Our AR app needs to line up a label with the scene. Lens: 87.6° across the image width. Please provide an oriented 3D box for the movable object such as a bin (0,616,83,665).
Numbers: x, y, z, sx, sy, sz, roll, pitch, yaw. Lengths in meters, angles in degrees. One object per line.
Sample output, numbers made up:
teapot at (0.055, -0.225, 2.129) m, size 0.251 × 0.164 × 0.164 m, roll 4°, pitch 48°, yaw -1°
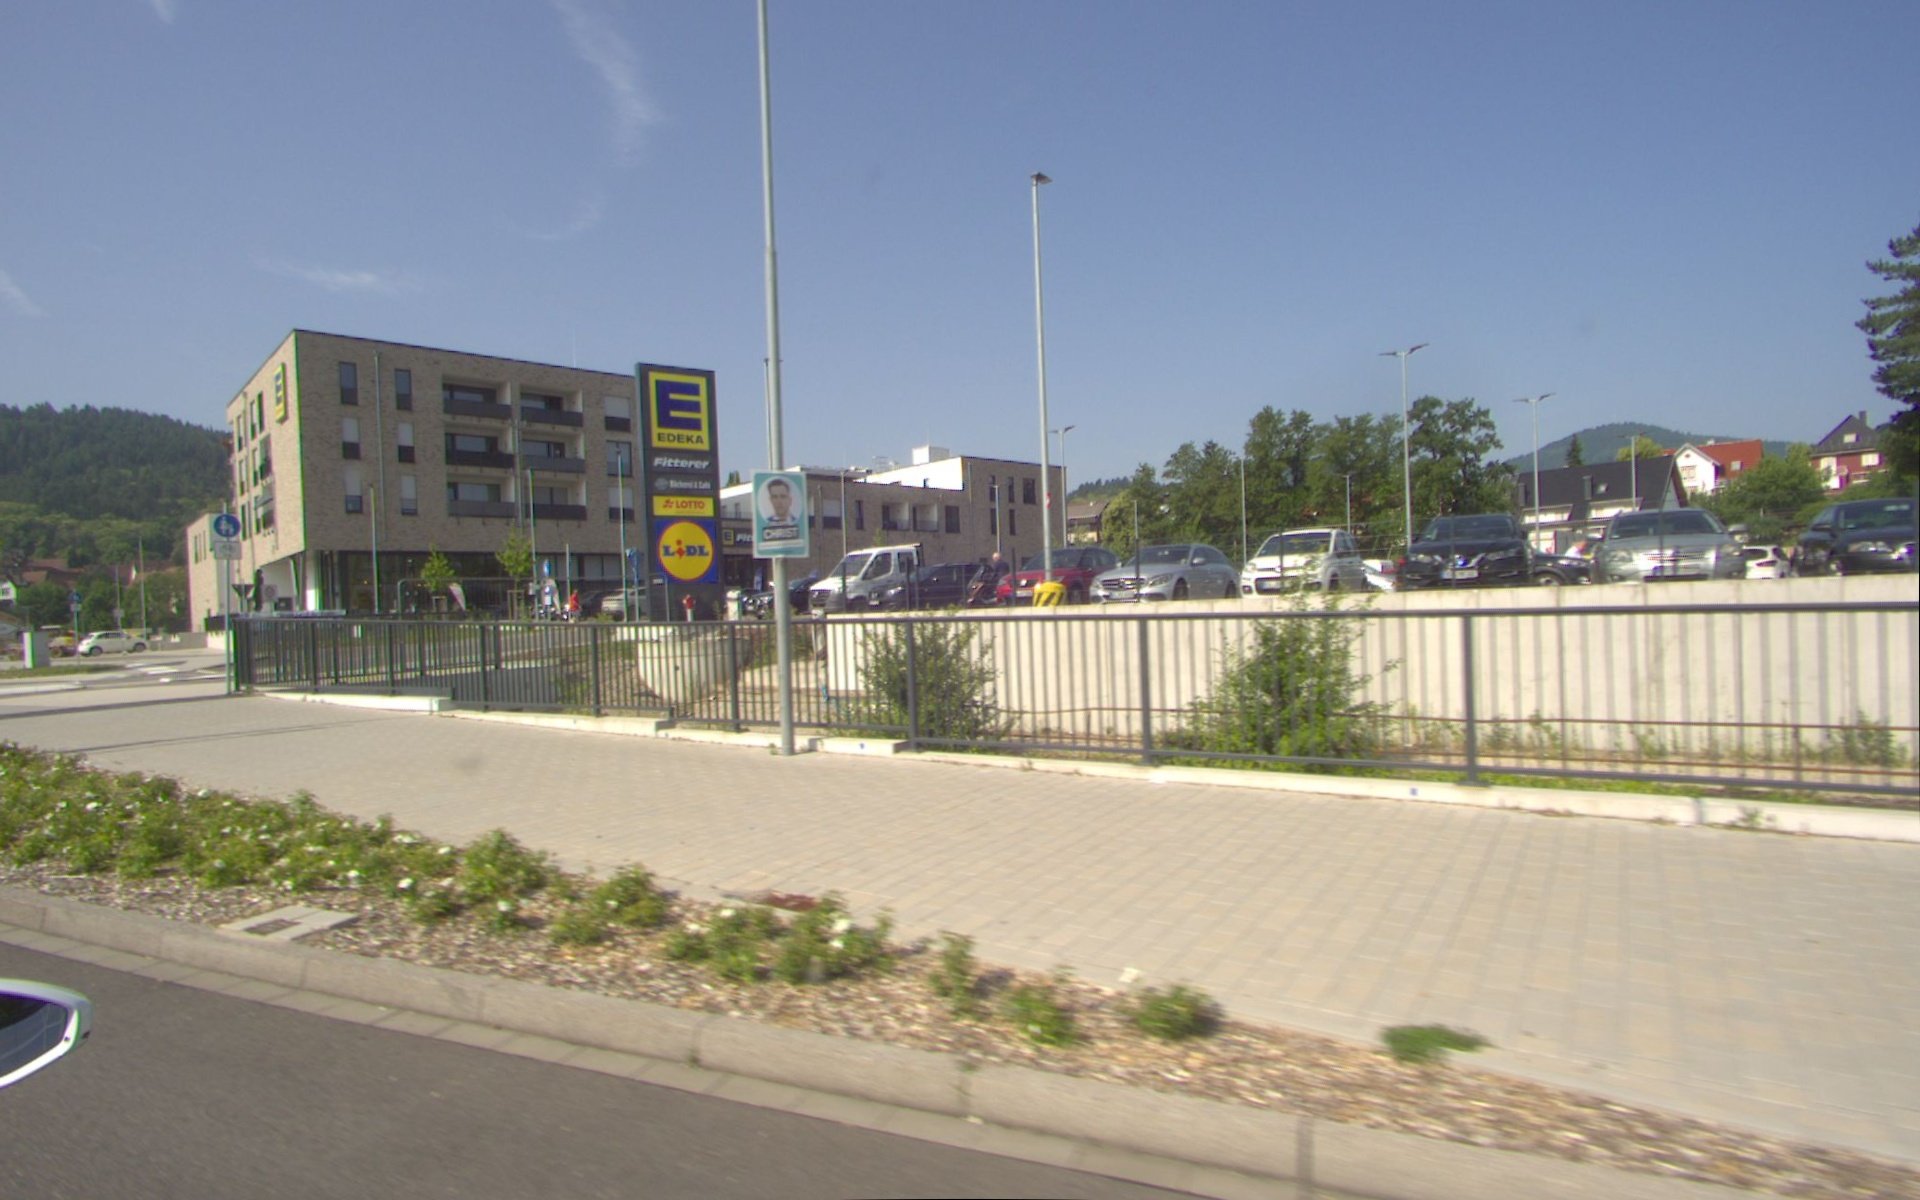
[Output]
movable object such as a bin at (-38.552, 1.664, 42.002) m, size 1.413 × 1.868 × 2.430 m, roll -2°, pitch 1°, yaw 41°

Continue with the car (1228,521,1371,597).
car at (6.385, -0.715, 18.606) m, size 1.690 × 1.215 × 3.546 m, roll -1°, pitch 1°, yaw 33°

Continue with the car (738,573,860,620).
car at (-5.774, -0.135, 36.043) m, size 3.947 × 1.467 × 1.667 m, roll -3°, pitch 1°, yaw -35°

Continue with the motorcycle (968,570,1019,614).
motorcycle at (0.874, -0.208, 25.824) m, size 1.264 × 1.060 × 0.559 m, roll -3°, pitch 1°, yaw 3°

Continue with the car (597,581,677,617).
car at (-16.160, -0.039, 50.128) m, size 3.463 × 1.615 × 1.472 m, roll -3°, pitch 1°, yaw -45°

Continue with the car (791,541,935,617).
car at (-2.993, -0.678, 31.269) m, size 3.949 × 2.164 × 1.986 m, roll -3°, pitch 1°, yaw -36°

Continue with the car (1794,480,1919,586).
car at (12.867, -0.864, 13.693) m, size 1.705 × 1.262 × 3.957 m, roll -1°, pitch 1°, yaw 32°

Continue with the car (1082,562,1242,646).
car at (4.196, 0.047, 20.304) m, size 1.694 × 1.507 × 4.043 m, roll -1°, pitch 1°, yaw 35°

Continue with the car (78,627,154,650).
car at (-54.947, 2.485, 65.231) m, size 1.449 × 1.321 × 3.464 m, roll -1°, pitch 1°, yaw 34°

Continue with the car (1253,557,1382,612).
car at (12.002, -0.505, 33.725) m, size 3.735 × 1.631 × 1.593 m, roll -3°, pitch 1°, yaw 43°

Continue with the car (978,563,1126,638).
car at (2.041, -0.010, 21.380) m, size 1.687 × 1.449 × 3.546 m, roll -1°, pitch 1°, yaw 33°

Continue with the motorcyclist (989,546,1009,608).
motorcyclist at (1.018, -0.589, 25.761) m, size 0.423 × 1.553 × 0.454 m, roll -3°, pitch 1°, yaw 5°

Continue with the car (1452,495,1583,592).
car at (9.305, -0.856, 16.559) m, size 1.637 × 1.360 × 4.026 m, roll -1°, pitch 1°, yaw 33°

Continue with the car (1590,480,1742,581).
car at (10.611, -0.958, 15.291) m, size 1.641 × 1.262 × 4.268 m, roll -1°, pitch 1°, yaw 32°
